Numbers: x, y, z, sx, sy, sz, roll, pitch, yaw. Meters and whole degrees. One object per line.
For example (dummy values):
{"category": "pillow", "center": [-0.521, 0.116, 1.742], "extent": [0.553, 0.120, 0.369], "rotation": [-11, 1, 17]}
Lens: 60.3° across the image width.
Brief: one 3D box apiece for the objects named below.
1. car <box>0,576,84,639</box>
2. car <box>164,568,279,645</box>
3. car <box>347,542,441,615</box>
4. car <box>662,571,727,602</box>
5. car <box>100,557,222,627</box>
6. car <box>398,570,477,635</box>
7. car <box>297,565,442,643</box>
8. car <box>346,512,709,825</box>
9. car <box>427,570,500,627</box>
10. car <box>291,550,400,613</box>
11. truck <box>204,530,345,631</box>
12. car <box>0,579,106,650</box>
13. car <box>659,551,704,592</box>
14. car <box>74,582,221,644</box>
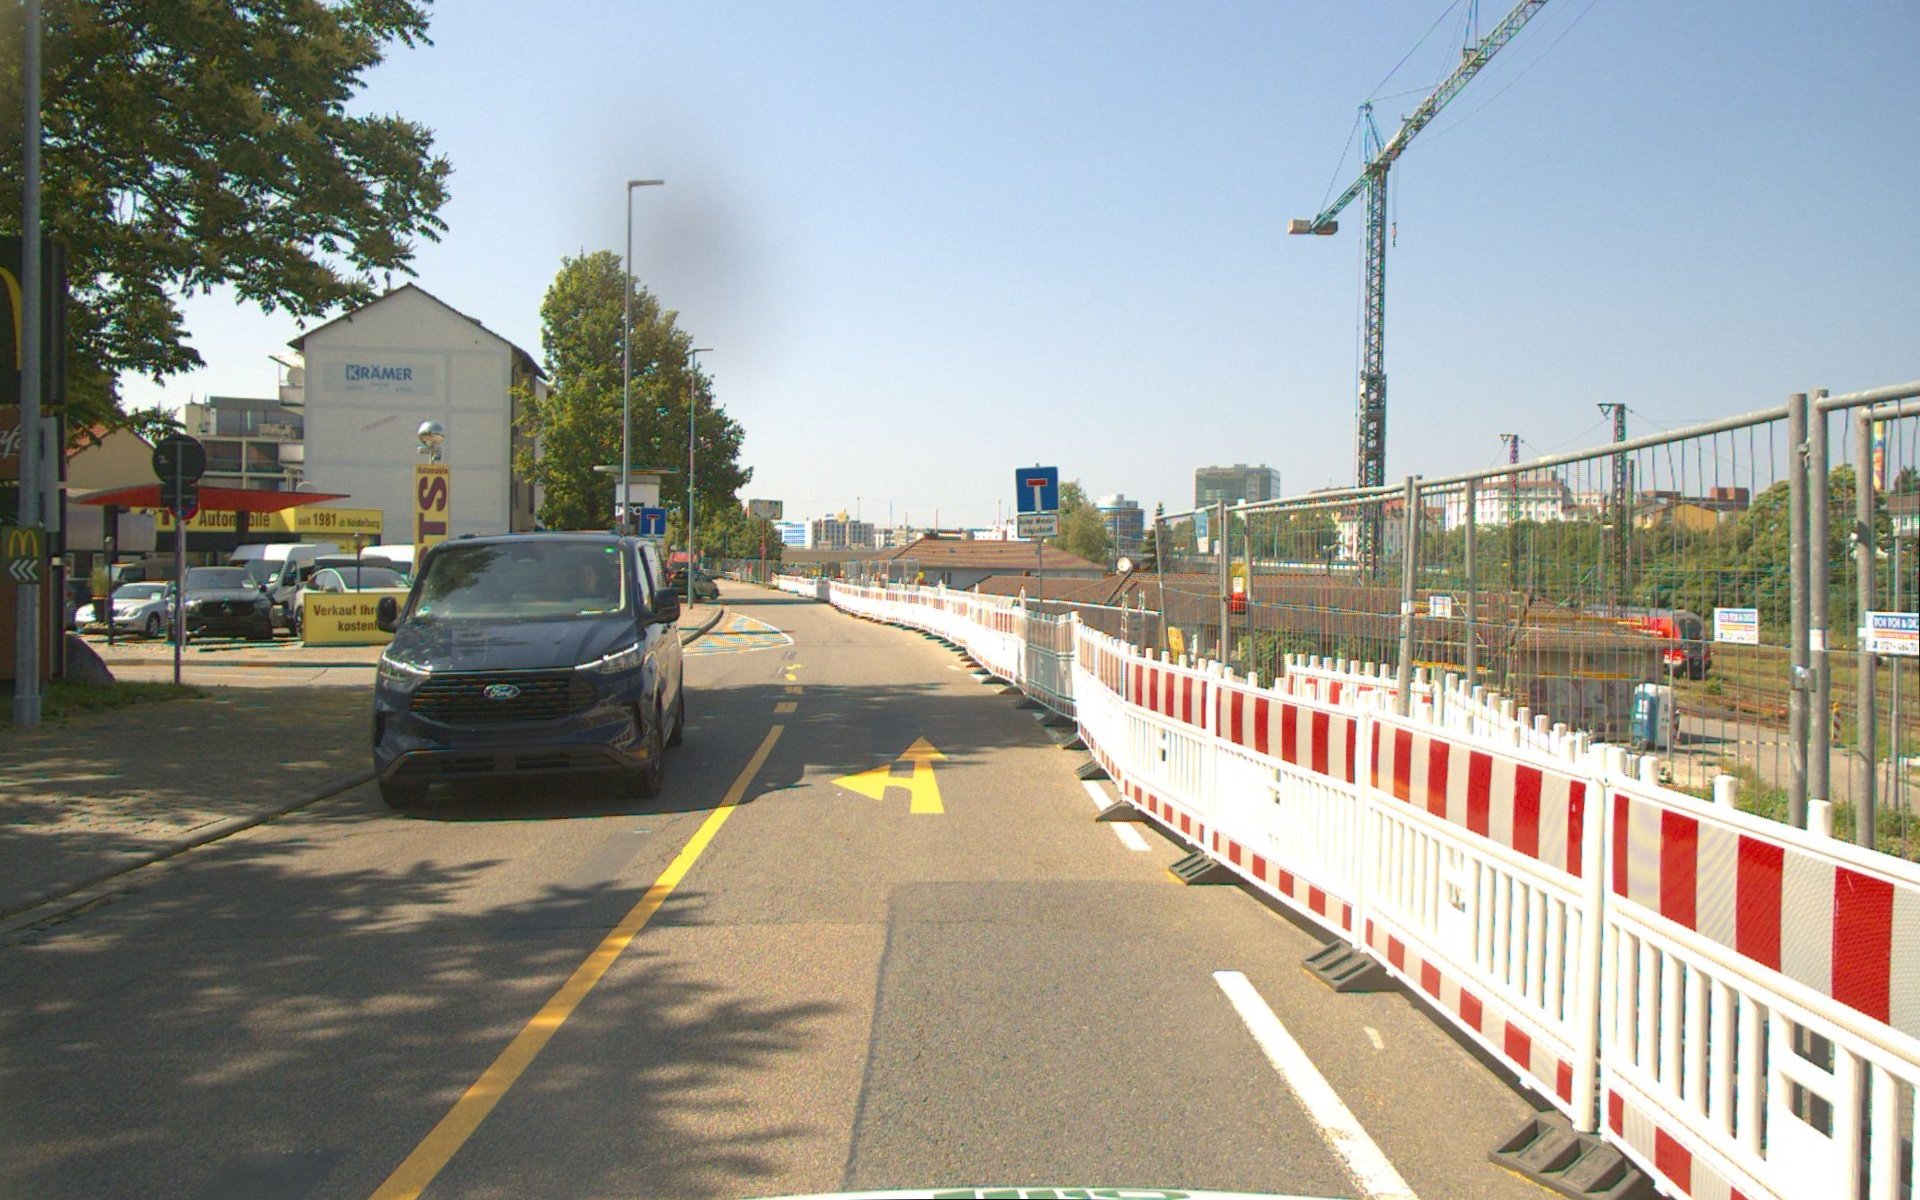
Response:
{"category": "car", "center": [-25.386, 0.187, 42.939], "extent": [4.302, 1.613, 1.968], "rotation": [1, 0, -44]}
{"category": "car", "center": [-16.736, 0.134, 37.380], "extent": [2.024, 1.622, 4.381], "rotation": [1, 0, -29]}
{"category": "car", "center": [-19.132, -0.721, 56.148], "extent": [2.095, 2.324, 4.703], "rotation": [1, 1, -8]}
{"category": "car", "center": [-14.949, -0.760, 93.264], "extent": [1.696, 1.666, 3.260], "rotation": [1, 0, 42]}
{"category": "car", "center": [-24.767, -0.242, 51.447], "extent": [1.955, 2.049, 4.490], "rotation": [1, 0, -6]}
{"category": "car", "center": [-14.052, 0.043, 44.364], "extent": [1.830, 1.657, 3.976], "rotation": [1, 1, -21]}
{"category": "car", "center": [-14.078, 0.082, 39.316], "extent": [1.982, 1.756, 3.942], "rotation": [1, 0, -40]}
{"category": "car", "center": [-3.259, 0.390, 13.659], "extent": [2.135, 2.002, 5.436], "rotation": [-2, 1, -7]}
{"category": "car", "center": [-14.977, -0.067, 49.779], "extent": [1.830, 1.657, 3.976], "rotation": [1, 1, -21]}
{"category": "car", "center": [-18.545, -0.550, 50.140], "extent": [1.841, 1.768, 4.717], "rotation": [2, 0, -5]}
{"category": "truck", "center": [-21.584, -0.608, 52.395], "extent": [2.224, 2.954, 5.939], "rotation": [2, 0, -3]}
{"category": "car", "center": [-21.188, 0.304, 37.682], "extent": [1.754, 1.536, 3.994], "rotation": [1, 0, -7]}
{"category": "car", "center": [-17.989, -1.805, 106.956], "extent": [2.489, 2.564, 5.111], "rotation": [1, 0, -6]}
{"category": "car", "center": [-21.317, 0.328, 43.565], "extent": [1.751, 1.513, 4.001], "rotation": [1, 0, 2]}
